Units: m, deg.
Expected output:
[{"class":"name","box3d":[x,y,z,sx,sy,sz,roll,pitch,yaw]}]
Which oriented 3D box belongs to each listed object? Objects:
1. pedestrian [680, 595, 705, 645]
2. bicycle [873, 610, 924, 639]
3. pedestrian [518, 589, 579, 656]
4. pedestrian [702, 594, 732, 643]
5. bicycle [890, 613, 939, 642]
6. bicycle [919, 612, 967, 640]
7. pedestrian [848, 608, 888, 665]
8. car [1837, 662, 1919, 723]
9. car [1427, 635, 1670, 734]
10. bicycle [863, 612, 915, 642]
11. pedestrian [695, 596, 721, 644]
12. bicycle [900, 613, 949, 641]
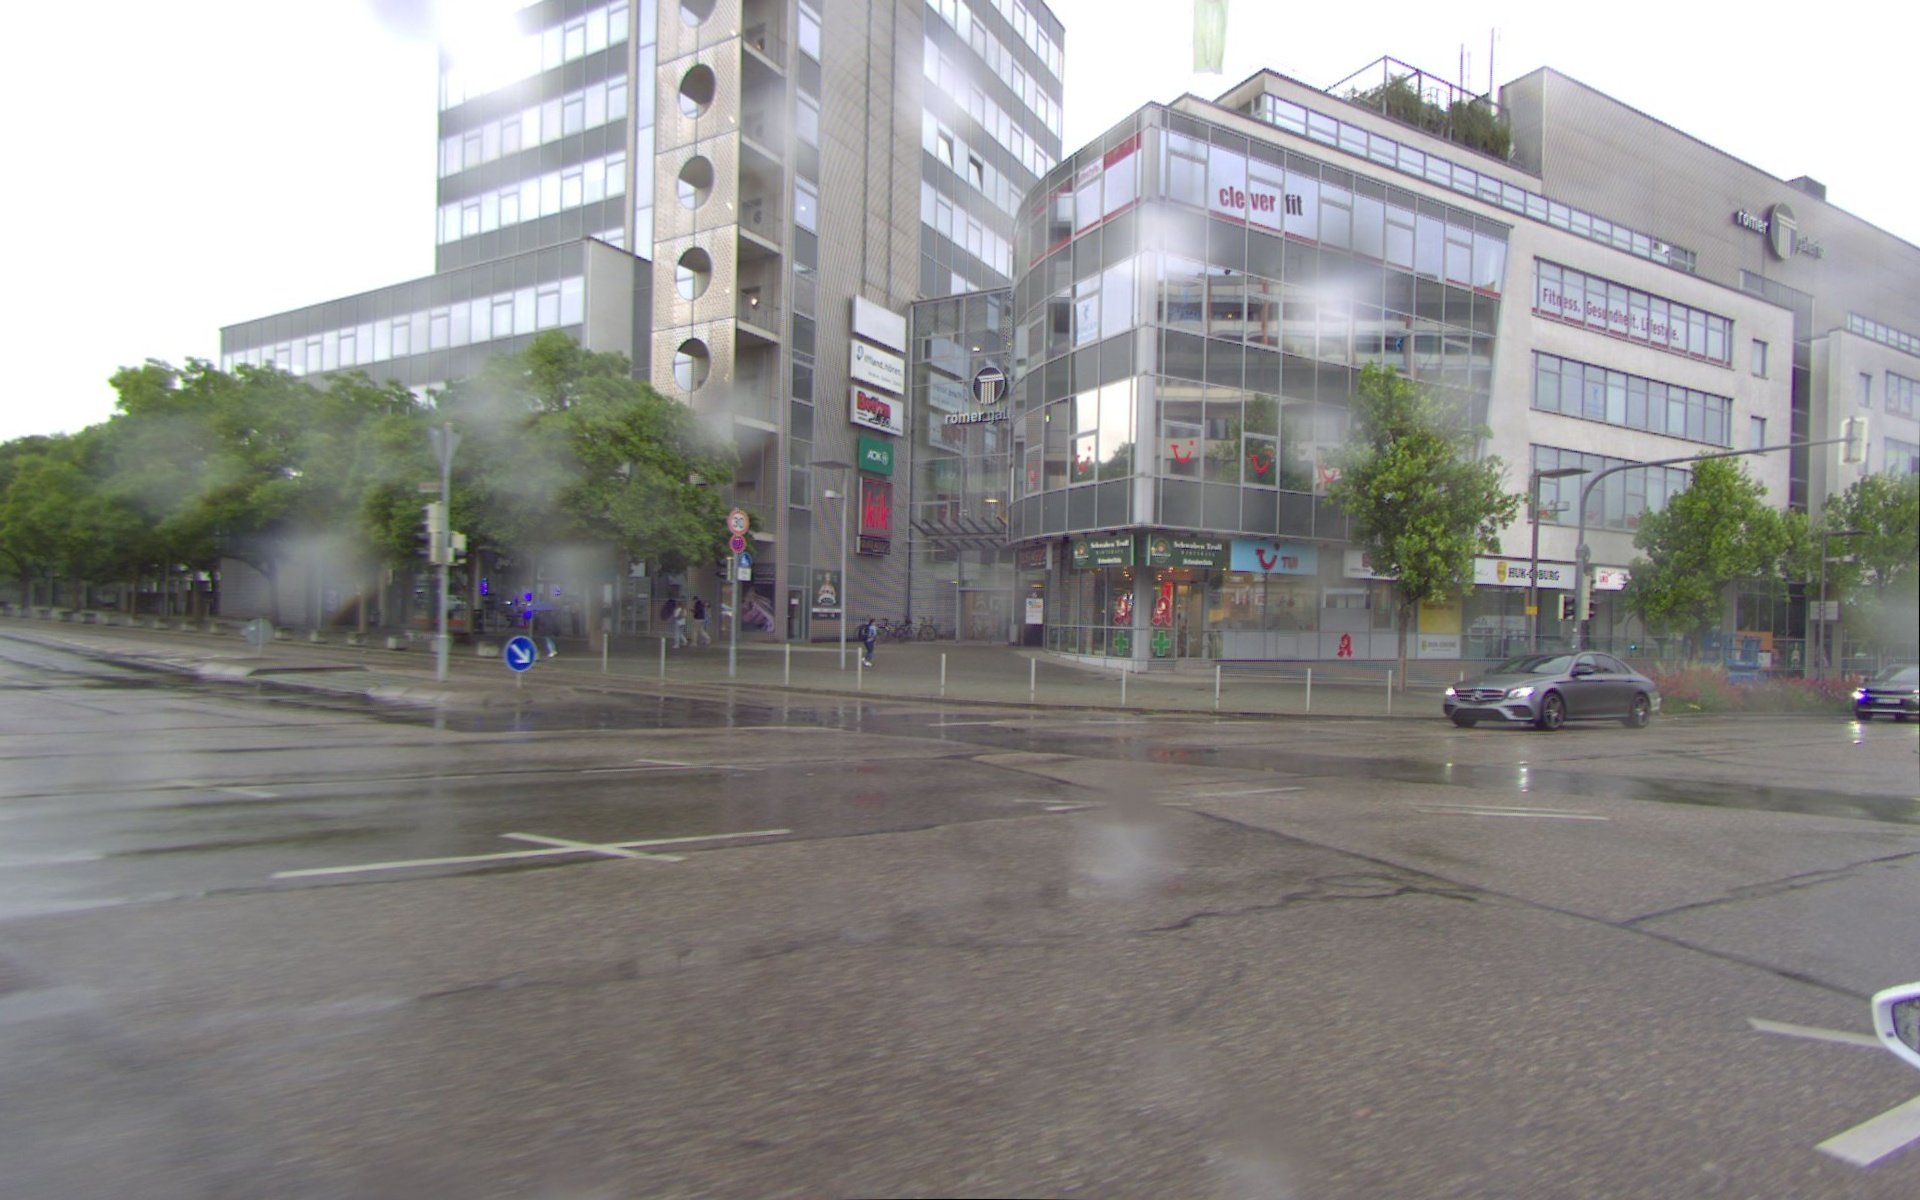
[{"class":"pedestrian","box3d":[-10.377,0.776,38.921,0.743,1.893,0.828,1,-1,-26]},{"class":"bicycle","box3d":[-2.748,1.075,44.899,2.240,1.263,0.675,0,-2,30]},{"class":"pedestrian","box3d":[-12.904,0.689,31.502,1.304,2.040,1.164,2,0,29]},{"class":"pedestrian","box3d":[-9.492,0.708,39.316,0.819,1.893,0.752,1,-1,30]},{"class":"bicycle","box3d":[-2.088,1.268,45.912,2.240,1.263,0.675,1,-1,30]},{"class":"bicycle","box3d":[-0.828,1.231,47.921,2.240,1.263,0.675,1,-1,30]},{"class":"pedestrian","box3d":[-2.994,1.186,32.643,1.011,1.843,0.842,2,-1,-28]},{"class":"car","box3d":[27.283,2.627,28.712,4.469,1.614,1.868,3,-5,-29]},{"class":"car","box3d":[11.340,1.549,19.257,4.845,1.653,1.911,2,-1,-30]},{"class":"bicycle","box3d":[-3.123,1.173,43.954,2.240,1.263,0.675,1,-1,30]},{"class":"pedestrian","box3d":[-10.165,0.818,40.508,0.738,1.893,0.834,1,-1,4]},{"class":"bicycle","box3d":[-1.675,1.262,46.870,2.240,1.263,0.675,1,-1,30]}]
